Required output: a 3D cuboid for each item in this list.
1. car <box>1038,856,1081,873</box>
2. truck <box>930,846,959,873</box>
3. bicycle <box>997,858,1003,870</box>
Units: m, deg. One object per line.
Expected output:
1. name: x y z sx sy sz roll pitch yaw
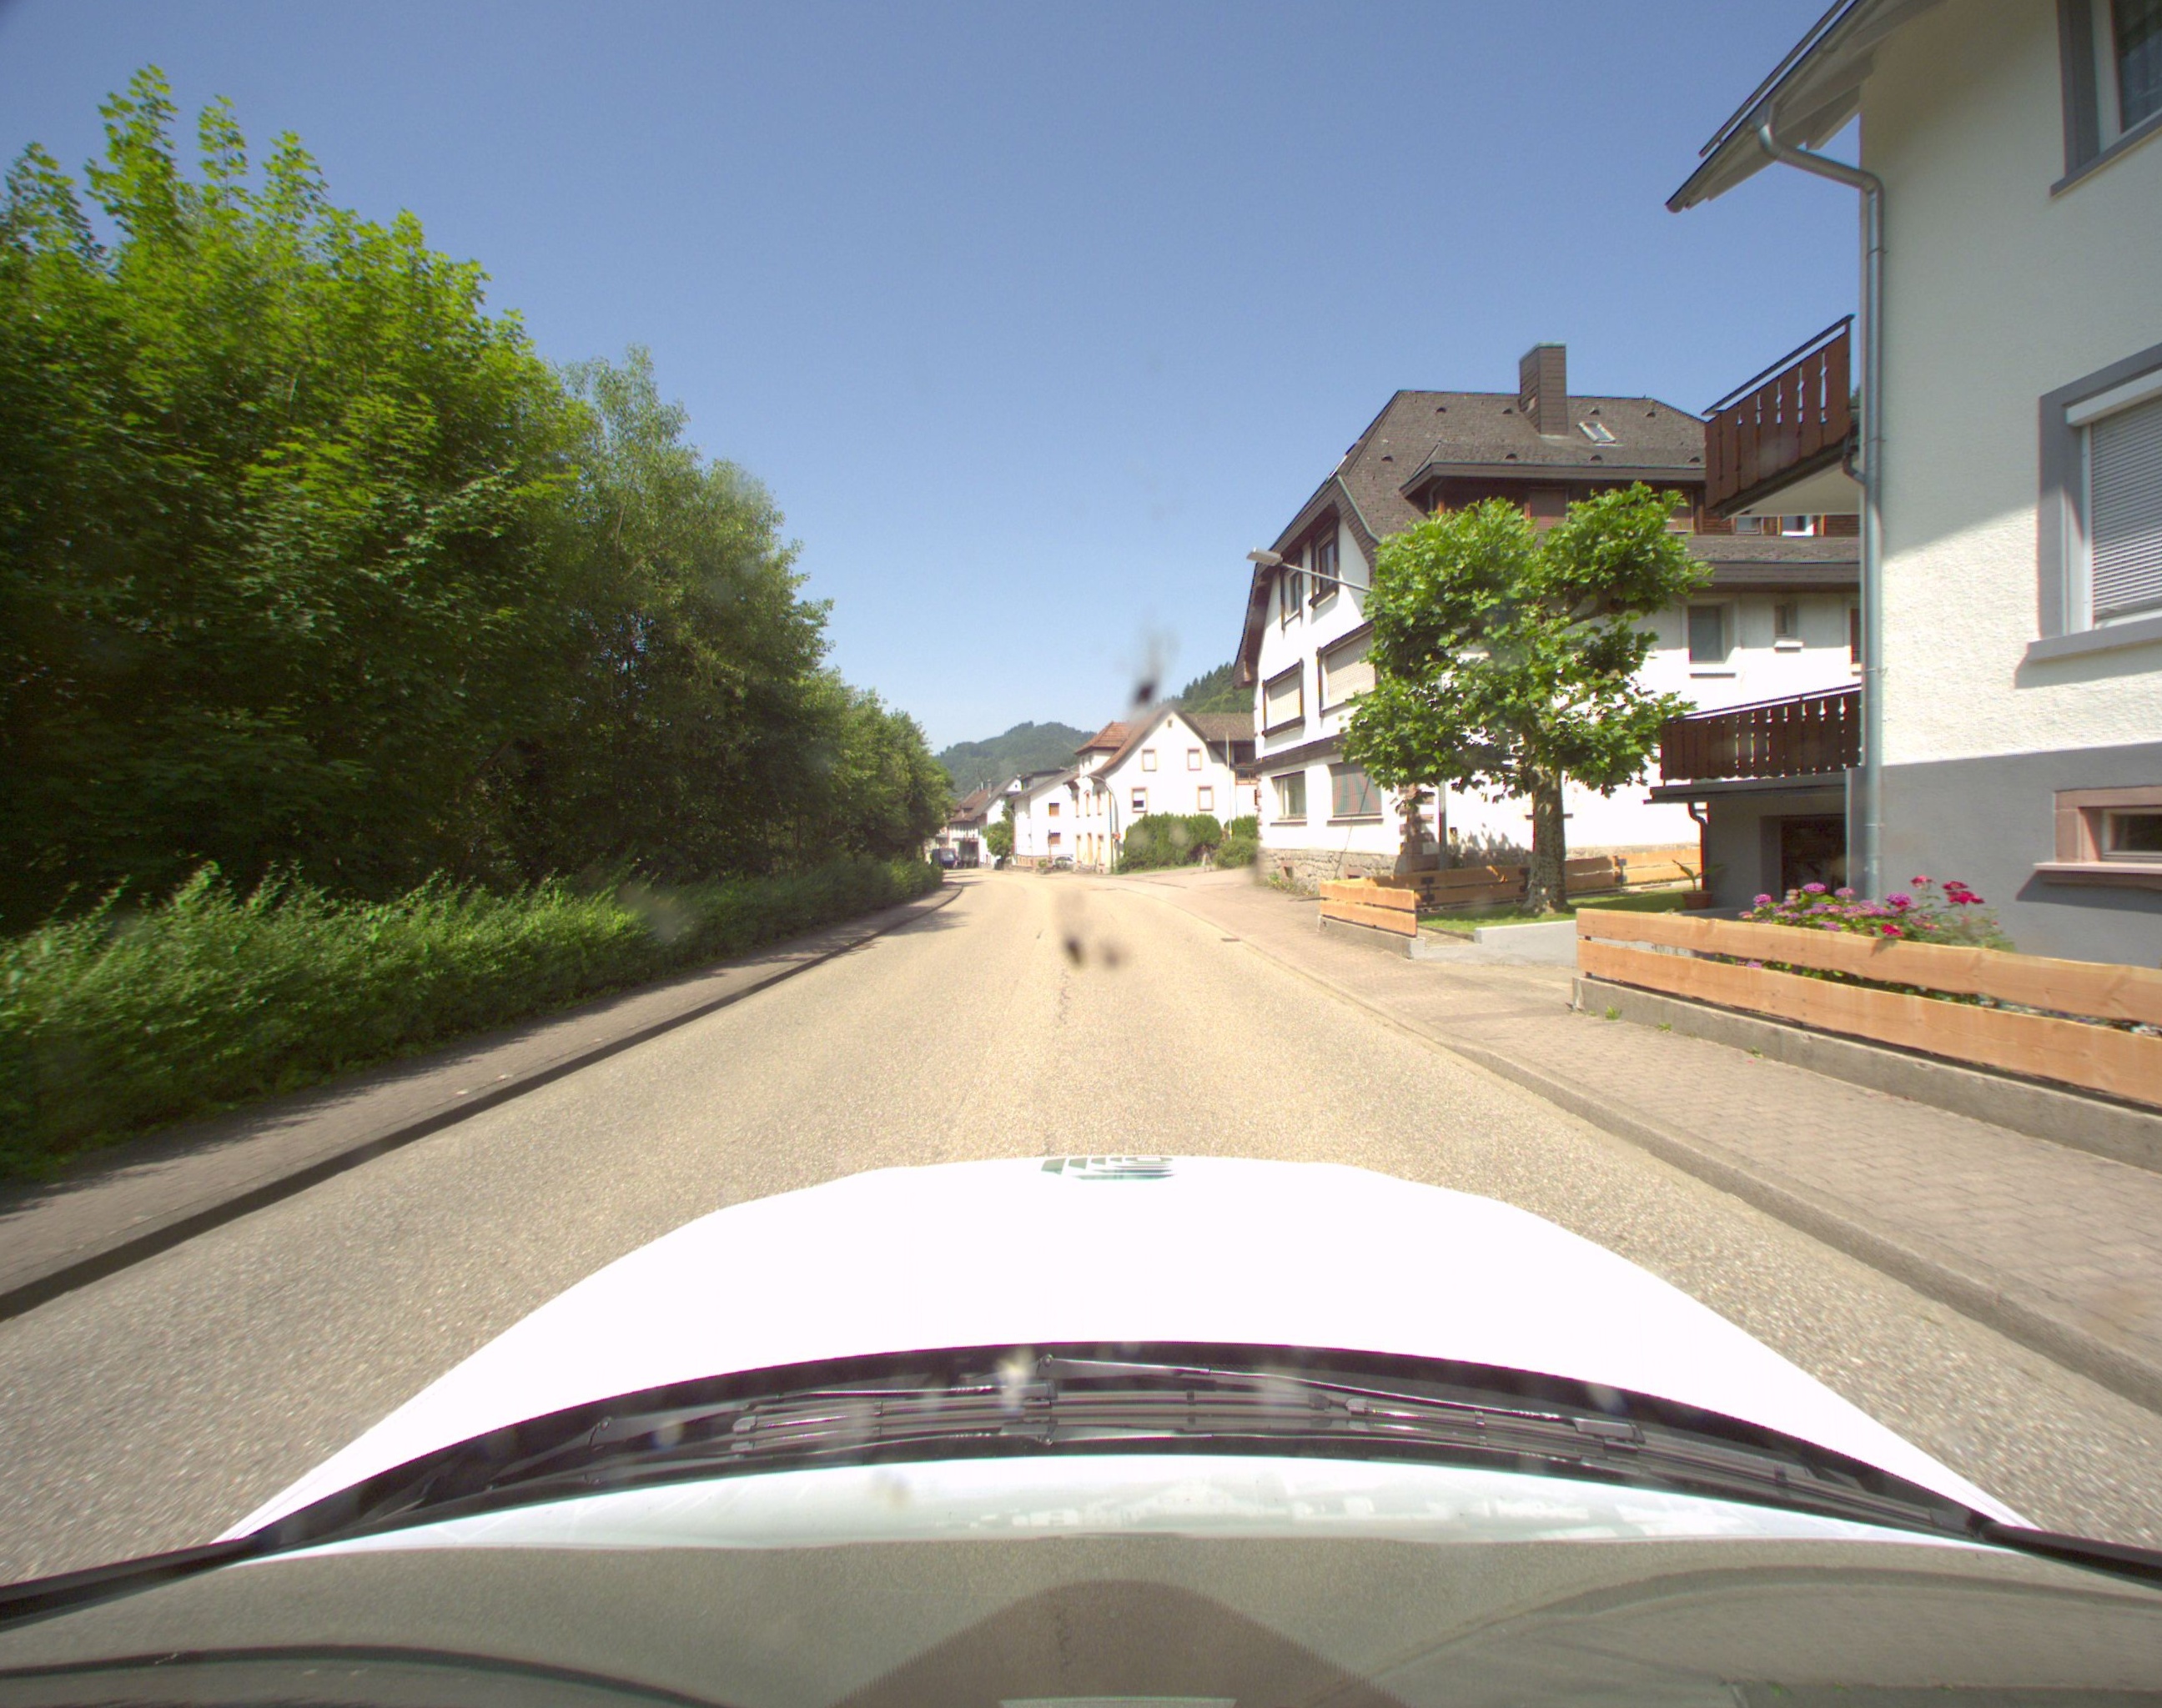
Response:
1. car: -2.051 0.972 76.686 3.727 1.427 1.620 -3 0 32
2. truck: -22.166 0.983 131.699 3.372 3.781 8.391 -6 -1 -17
3. bicycle: -10.015 1.215 100.696 0.426 1.396 2.267 -6 1 -13
